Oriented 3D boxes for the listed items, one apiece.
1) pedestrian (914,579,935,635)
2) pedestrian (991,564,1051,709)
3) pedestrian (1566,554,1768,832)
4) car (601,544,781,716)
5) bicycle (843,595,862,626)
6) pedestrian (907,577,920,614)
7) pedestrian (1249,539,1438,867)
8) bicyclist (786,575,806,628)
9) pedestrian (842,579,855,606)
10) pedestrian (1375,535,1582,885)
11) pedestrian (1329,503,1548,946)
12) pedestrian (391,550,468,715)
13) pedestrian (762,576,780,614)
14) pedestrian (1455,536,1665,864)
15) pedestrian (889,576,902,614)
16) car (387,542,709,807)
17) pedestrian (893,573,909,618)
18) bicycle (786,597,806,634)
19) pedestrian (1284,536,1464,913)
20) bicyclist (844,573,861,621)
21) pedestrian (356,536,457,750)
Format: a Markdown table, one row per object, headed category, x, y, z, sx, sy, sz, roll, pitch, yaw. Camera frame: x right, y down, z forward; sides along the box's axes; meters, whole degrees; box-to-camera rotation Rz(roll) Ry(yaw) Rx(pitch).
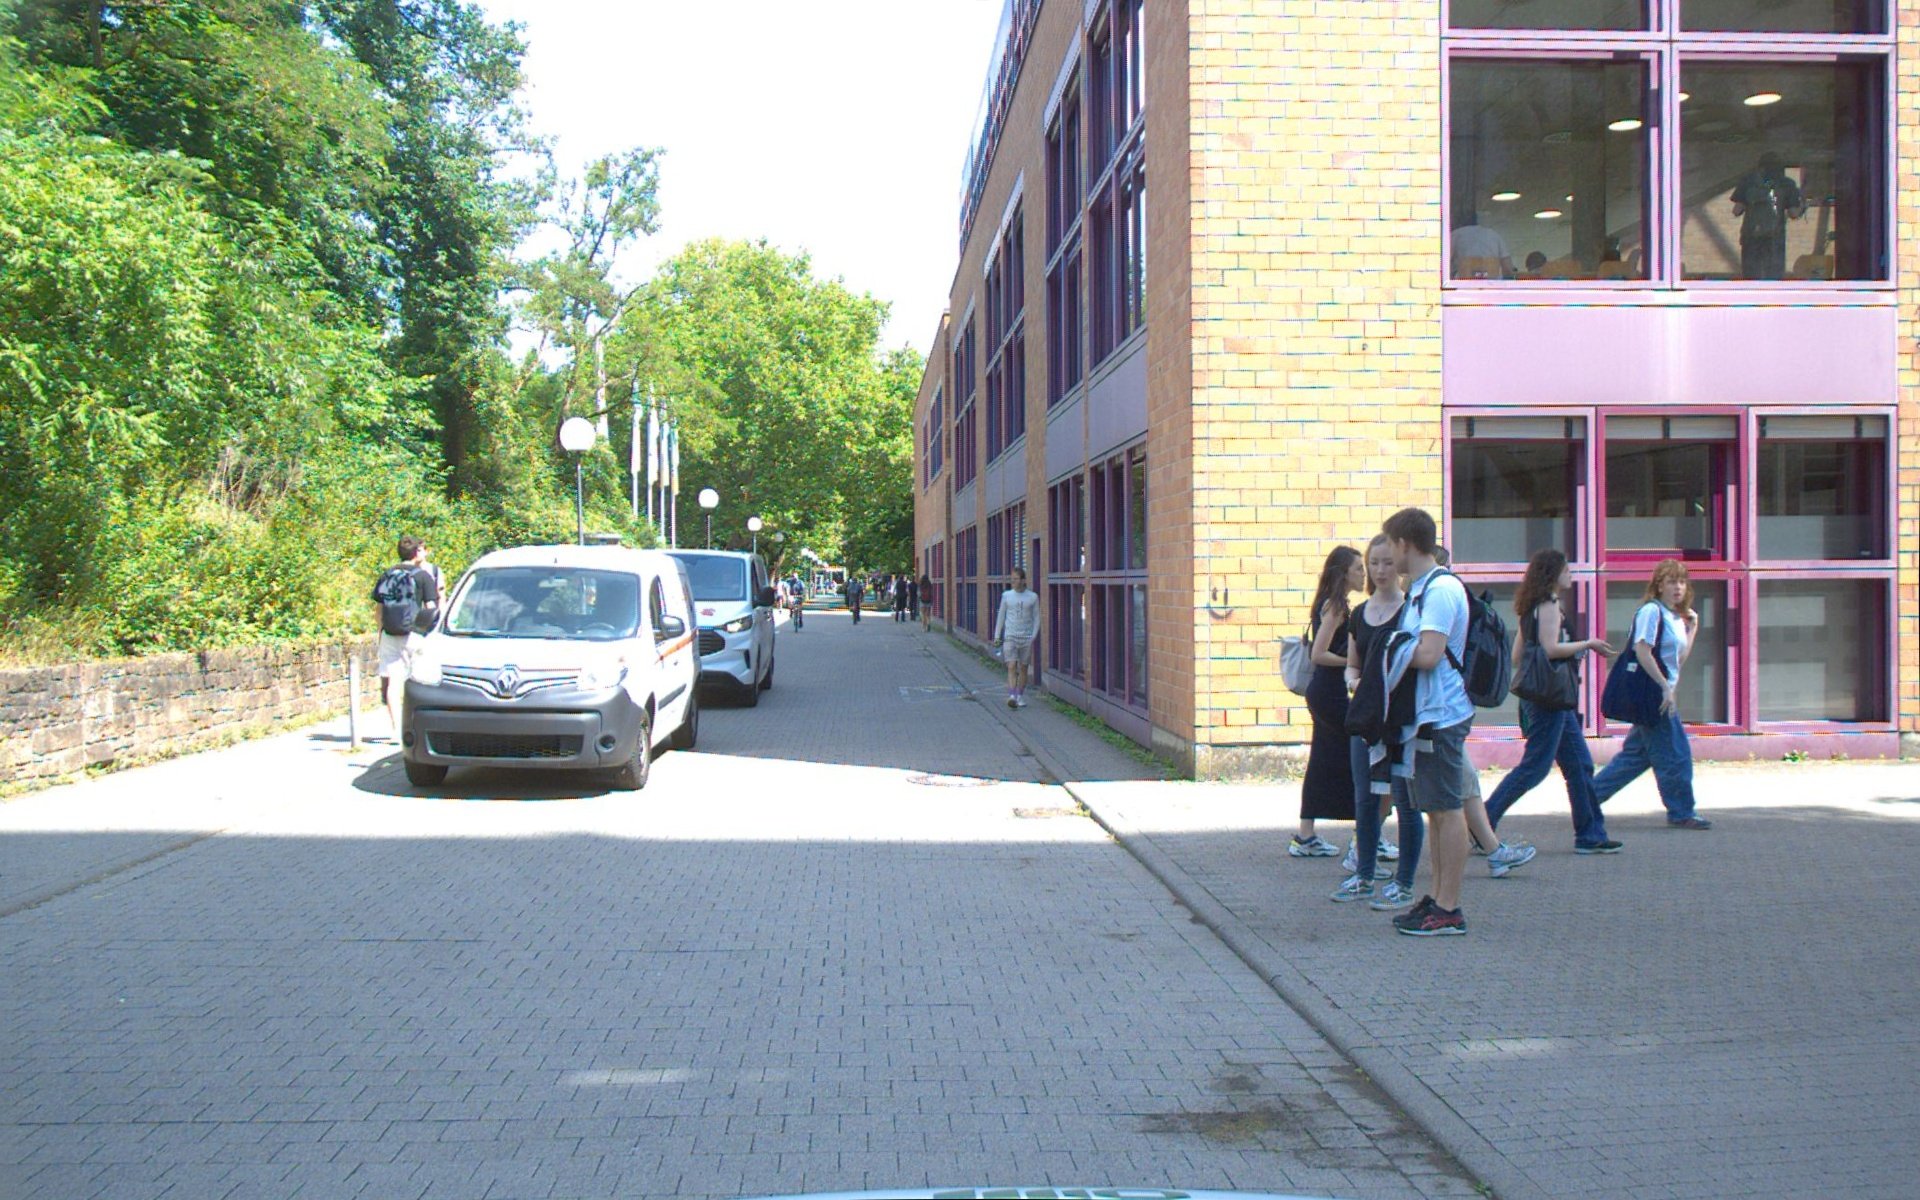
| category | x | y | z | sx | sy | sz | roll | pitch | yaw |
| --- | --- | --- | --- | --- | --- | --- | --- | --- | --- |
| pedestrian | -1.099 | 0.211 | 50.888 | 0.574 | 1.702 | 0.698 | -2 | -1 | -2 |
| pedestrian | 0.757 | 0.454 | 20.645 | 0.669 | 1.778 | 0.782 | 0 | -1 | -4 |
| pedestrian | 4.214 | 0.530 | 9.908 | 0.867 | 1.569 | 0.743 | -2 | 1 | 4 |
| car | -3.449 | 0.324 | 22.106 | 1.846 | 2.008 | 5.211 | 0 | 1 | -4 |
| bicycle | -3.924 | 0.377 | 60.189 | 0.576 | 1.102 | 1.905 | 0 | 0 | -7 |
| pedestrian | -2.449 | -0.230 | 86.675 | 0.640 | 1.956 | 0.817 | -2 | -1 | -2 |
| pedestrian | 2.078 | 0.537 | 9.042 | 0.867 | 1.701 | 0.643 | -2 | 1 | 4 |
| bicyclist | -4.998 | 0.035 | 50.325 | 0.576 | 1.600 | 0.828 | 0 | 0 | -7 |
| pedestrian | -7.073 | -0.452 | 104.816 | 0.710 | 1.702 | 0.748 | -2 | -1 | -2 |
| pedestrian | 2.607 | 0.544 | 8.380 | 0.867 | 1.702 | 0.559 | -1 | -1 | 4 |
| pedestrian | 2.058 | 0.523 | 7.192 | 0.750 | 1.826 | 0.588 | -2 | -1 | 4 |
| pedestrian | -6.151 | 0.373 | 19.206 | 0.669 | 1.876 | 0.782 | 0 | -1 | -4 |
| pedestrian | -8.715 | -0.237 | 76.343 | 0.710 | 1.702 | 0.748 | -2 | -1 | -2 |
| pedestrian | 3.231 | 0.529 | 8.966 | 0.909 | 1.702 | 0.588 | -1 | -1 | 4 |
| pedestrian | -3.367 | -0.269 | 86.602 | 0.640 | 1.956 | 0.817 | -2 | -1 | -2 |
| car | -3.160 | 0.483 | 13.577 | 1.755 | 1.792 | 4.478 | -1 | 1 | -4 |
| pedestrian | -2.292 | -0.165 | 64.385 | 0.574 | 1.702 | 0.817 | -2 | -1 | -2 |
| bicycle | -5.000 | 0.459 | 50.356 | 0.576 | 1.102 | 1.811 | 0 | 0 | -7 |
| pedestrian | 1.946 | 0.572 | 7.843 | 0.682 | 1.702 | 0.588 | -2 | -1 | 4 |
| bicyclist | -3.929 | -0.114 | 60.201 | 0.576 | 1.746 | 0.664 | 0 | 0 | -7 |
| pedestrian | -4.984 | 0.378 | 14.923 | 0.669 | 1.876 | 0.782 | 0 | -1 | -4 |
